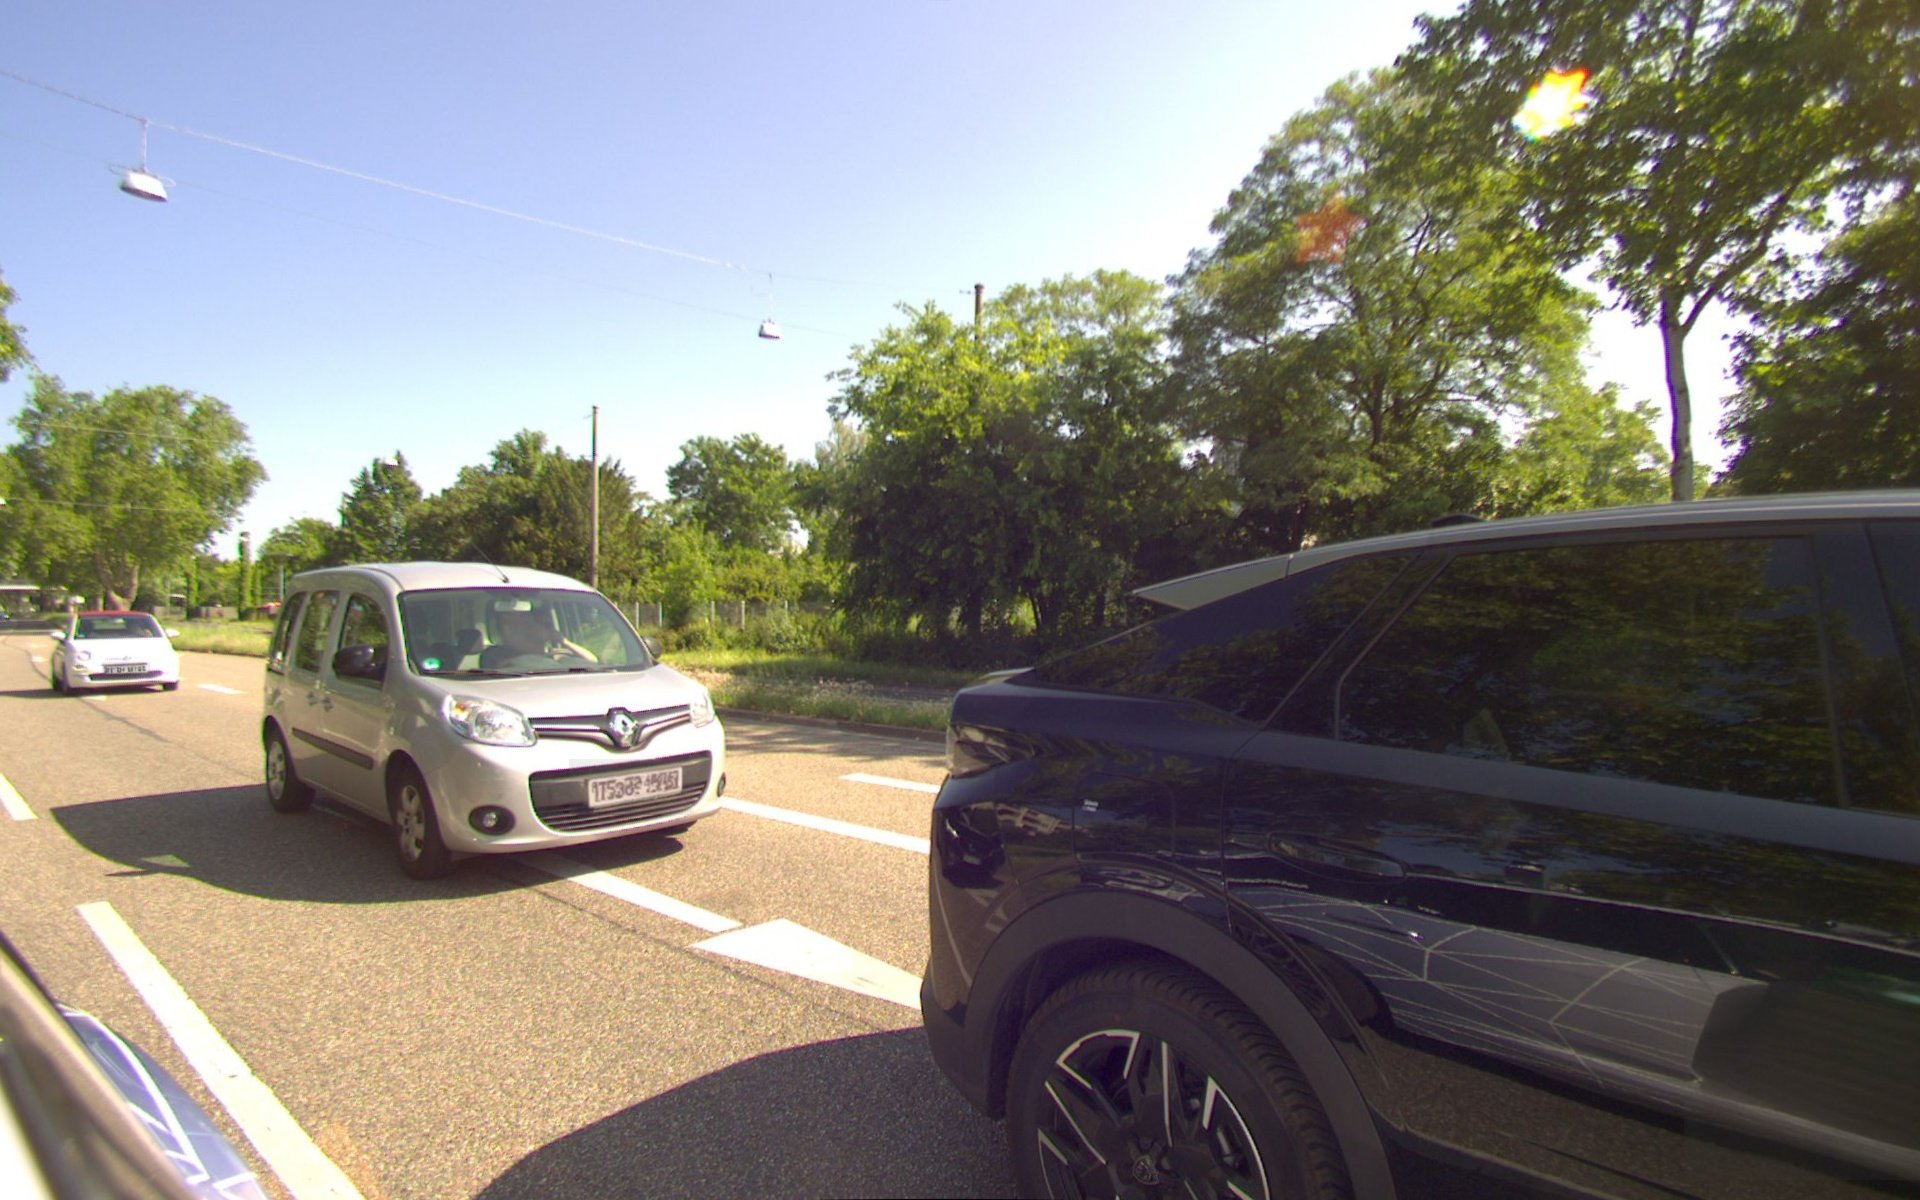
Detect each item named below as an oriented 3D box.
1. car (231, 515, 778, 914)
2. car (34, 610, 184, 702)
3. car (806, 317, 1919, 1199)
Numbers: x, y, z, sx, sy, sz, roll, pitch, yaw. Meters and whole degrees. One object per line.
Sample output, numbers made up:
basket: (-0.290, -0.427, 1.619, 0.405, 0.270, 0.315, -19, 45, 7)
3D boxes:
car: (-3.313, 0.564, 6.891, 4.375, 1.854, 1.852, -1, -1, 43)
car: (-16.198, 0.975, 19.191, 4.376, 1.502, 1.666, -1, 0, 43)
car: (1.902, 0.532, 1.658, 4.433, 1.709, 1.853, -1, -1, 41)
